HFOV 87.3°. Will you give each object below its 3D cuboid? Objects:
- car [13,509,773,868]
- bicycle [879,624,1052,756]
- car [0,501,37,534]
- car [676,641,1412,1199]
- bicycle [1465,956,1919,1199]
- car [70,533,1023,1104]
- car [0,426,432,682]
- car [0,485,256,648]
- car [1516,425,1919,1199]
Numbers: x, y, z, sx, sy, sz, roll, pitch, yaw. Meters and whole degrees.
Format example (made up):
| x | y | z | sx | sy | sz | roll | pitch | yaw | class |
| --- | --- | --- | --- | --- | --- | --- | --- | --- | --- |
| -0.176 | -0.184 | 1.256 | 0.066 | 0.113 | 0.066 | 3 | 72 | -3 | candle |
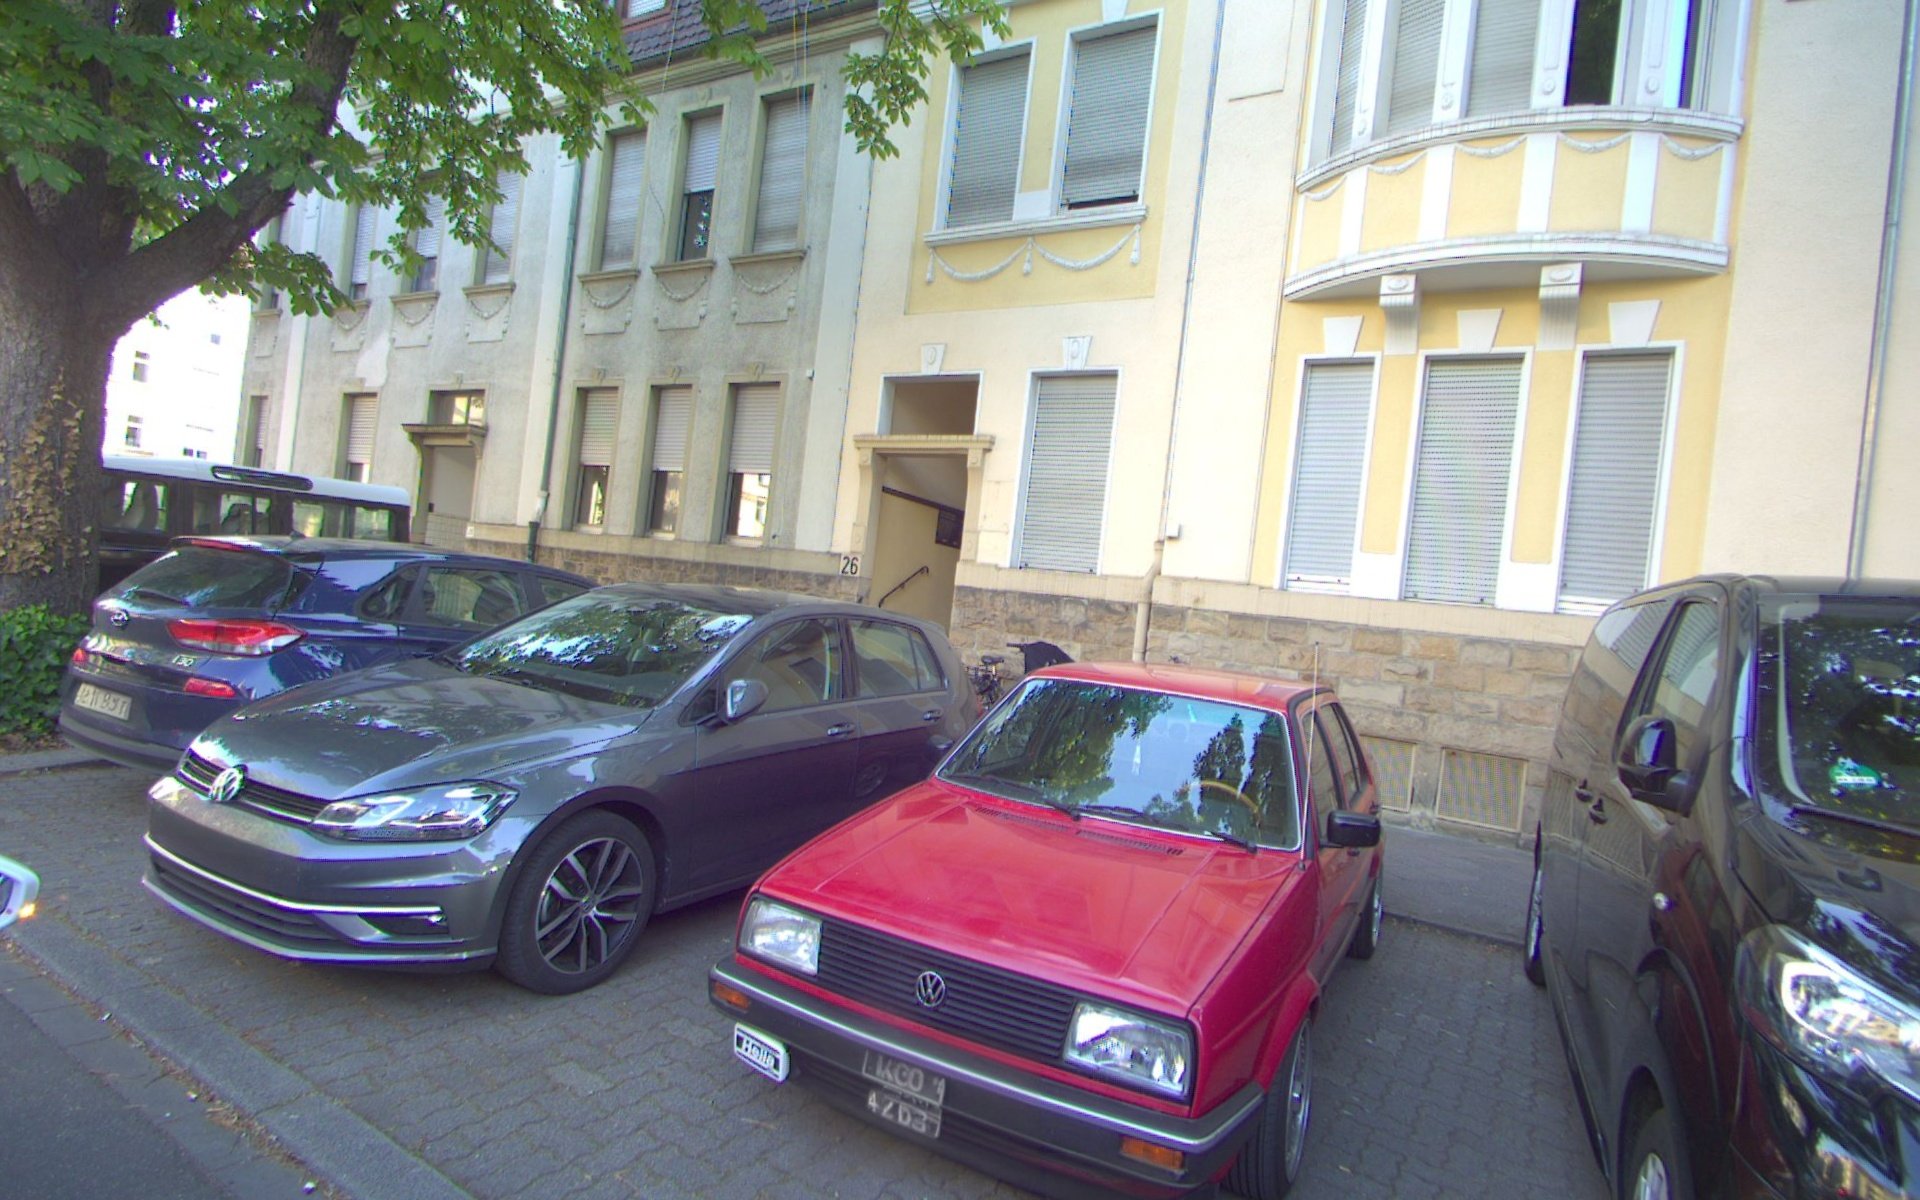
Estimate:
| x | y | z | sx | sy | sz | roll | pitch | yaw | class |
| --- | --- | --- | --- | --- | --- | --- | --- | --- | --- |
| -3.047 | 0.427 | 6.234 | 1.600 | 1.440 | 3.754 | 6 | 0 | 29 | car |
| 0.036 | 0.892 | 10.377 | 1.675 | 1.090 | 0.500 | 7 | 2 | 32 | bicycle |
| -36.138 | -3.210 | 36.670 | 1.357 | 1.081 | 3.370 | 7 | -1 | 30 | car |
| 0.840 | 0.939 | 4.227 | 1.532 | 1.337 | 3.916 | 6 | 0 | 29 | car |
| 1.198 | 1.026 | 0.295 | 1.980 | 1.131 | 0.744 | 7 | -1 | 32 | bicycle |
| -1.338 | 0.653 | 4.834 | 1.600 | 1.440 | 4.054 | 6 | 0 | 29 | car |
| -7.614 | -0.379 | 9.313 | 1.762 | 1.981 | 4.496 | 7 | 1 | 29 | car |
| -10.033 | -0.393 | 10.884 | 1.680 | 1.606 | 3.488 | 7 | 0 | 26 | car |
| 2.884 | 0.900 | 2.947 | 1.848 | 1.847 | 4.829 | 6 | 0 | 27 | car |
